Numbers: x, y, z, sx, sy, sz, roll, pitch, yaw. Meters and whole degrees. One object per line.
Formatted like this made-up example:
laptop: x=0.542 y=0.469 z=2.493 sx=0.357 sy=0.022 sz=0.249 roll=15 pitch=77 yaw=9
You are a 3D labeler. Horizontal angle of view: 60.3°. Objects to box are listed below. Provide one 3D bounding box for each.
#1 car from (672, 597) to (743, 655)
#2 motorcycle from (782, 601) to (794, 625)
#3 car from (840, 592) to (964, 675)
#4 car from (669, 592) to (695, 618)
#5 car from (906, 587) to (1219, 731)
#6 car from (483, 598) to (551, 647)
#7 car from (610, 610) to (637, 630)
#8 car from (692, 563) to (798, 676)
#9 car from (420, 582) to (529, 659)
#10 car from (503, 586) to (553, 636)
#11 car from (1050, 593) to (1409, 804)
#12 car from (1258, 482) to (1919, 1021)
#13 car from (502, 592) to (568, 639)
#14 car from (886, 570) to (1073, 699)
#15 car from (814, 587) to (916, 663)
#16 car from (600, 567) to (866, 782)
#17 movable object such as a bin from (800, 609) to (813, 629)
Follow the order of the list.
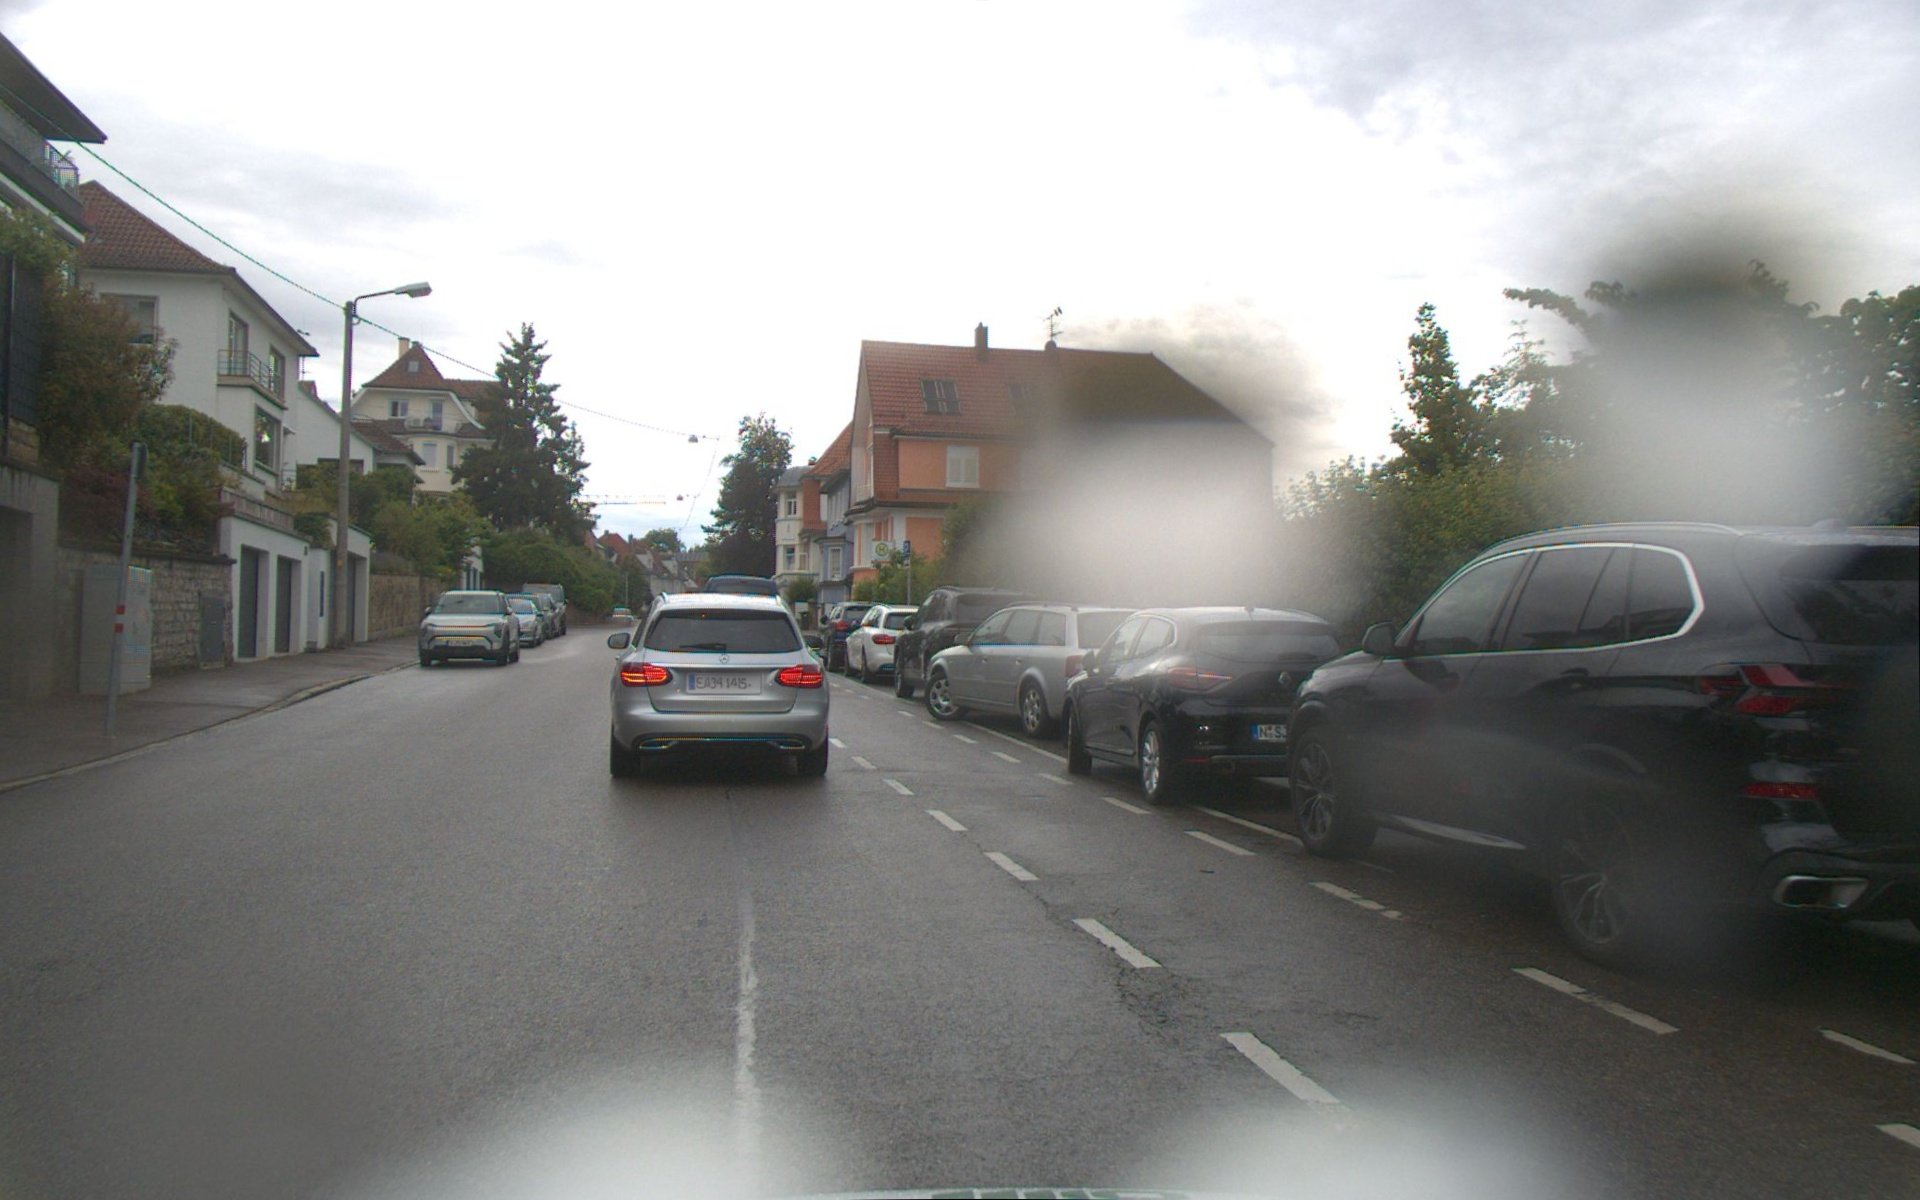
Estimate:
car: x=-6.897 y=0.665 z=44.955 sx=1.820 sy=1.484 sz=4.086 roll=0 pitch=0 yaw=-10
motorcycle: x=-9.403 y=0.719 z=90.506 sx=0.571 sy=1.284 sz=2.327 roll=-1 pitch=0 yaw=-7
car: x=-1.200 y=0.595 z=32.000 sx=1.682 sy=1.430 sz=4.596 roll=2 pitch=0 yaw=-11
car: x=-27.210 y=0.479 z=161.908 sx=2.422 sy=2.442 sz=3.990 roll=-2 pitch=0 yaw=-10
car: x=1.055 y=0.622 z=19.673 sx=1.775 sy=1.465 sz=4.607 roll=2 pitch=0 yaw=-24
car: x=-13.183 y=0.650 z=49.384 sx=1.580 sy=1.361 sz=3.832 roll=2 pitch=0 yaw=-10
car: x=-27.821 y=1.659 z=136.831 sx=2.079 sy=1.497 sz=4.006 roll=2 pitch=0 yaw=-11
car: x=-4.046 y=0.306 z=31.092 sx=1.790 sy=1.915 sz=4.088 roll=-2 pitch=1 yaw=-8
car: x=-10.729 y=0.421 z=36.804 sx=1.864 sy=1.595 sz=4.227 roll=0 pitch=0 yaw=-10
car: x=-14.061 y=0.351 z=53.910 sx=1.471 sy=1.550 sz=3.147 roll=2 pitch=0 yaw=-14
car: x=1.998 y=0.704 z=13.453 sx=1.658 sy=1.447 sz=3.973 roll=1 pitch=-1 yaw=-10
car: x=3.309 y=0.496 z=8.164 sx=1.990 sy=1.814 sz=4.886 roll=1 pitch=0 yaw=-11
car: x=-14.993 y=0.518 z=58.475 sx=1.864 sy=1.541 sz=4.331 roll=3 pitch=0 yaw=-10
car: x=0.178 y=0.474 z=24.932 sx=1.854 sy=1.692 sz=4.535 roll=2 pitch=0 yaw=-12
car: x=-2.204 y=0.543 z=37.378 sx=1.722 sy=1.557 sz=4.194 roll=2 pitch=-1 yaw=-11
car: x=-2.040 y=0.556 z=14.459 sx=1.946 sy=1.581 sz=4.287 roll=1 pitch=0 yaw=-10
movable object such as a bin: x=-7.520 y=0.942 z=81.045 sx=0.539 sy=0.952 sz=0.632 roll=-2 pitch=0 yaw=-10
